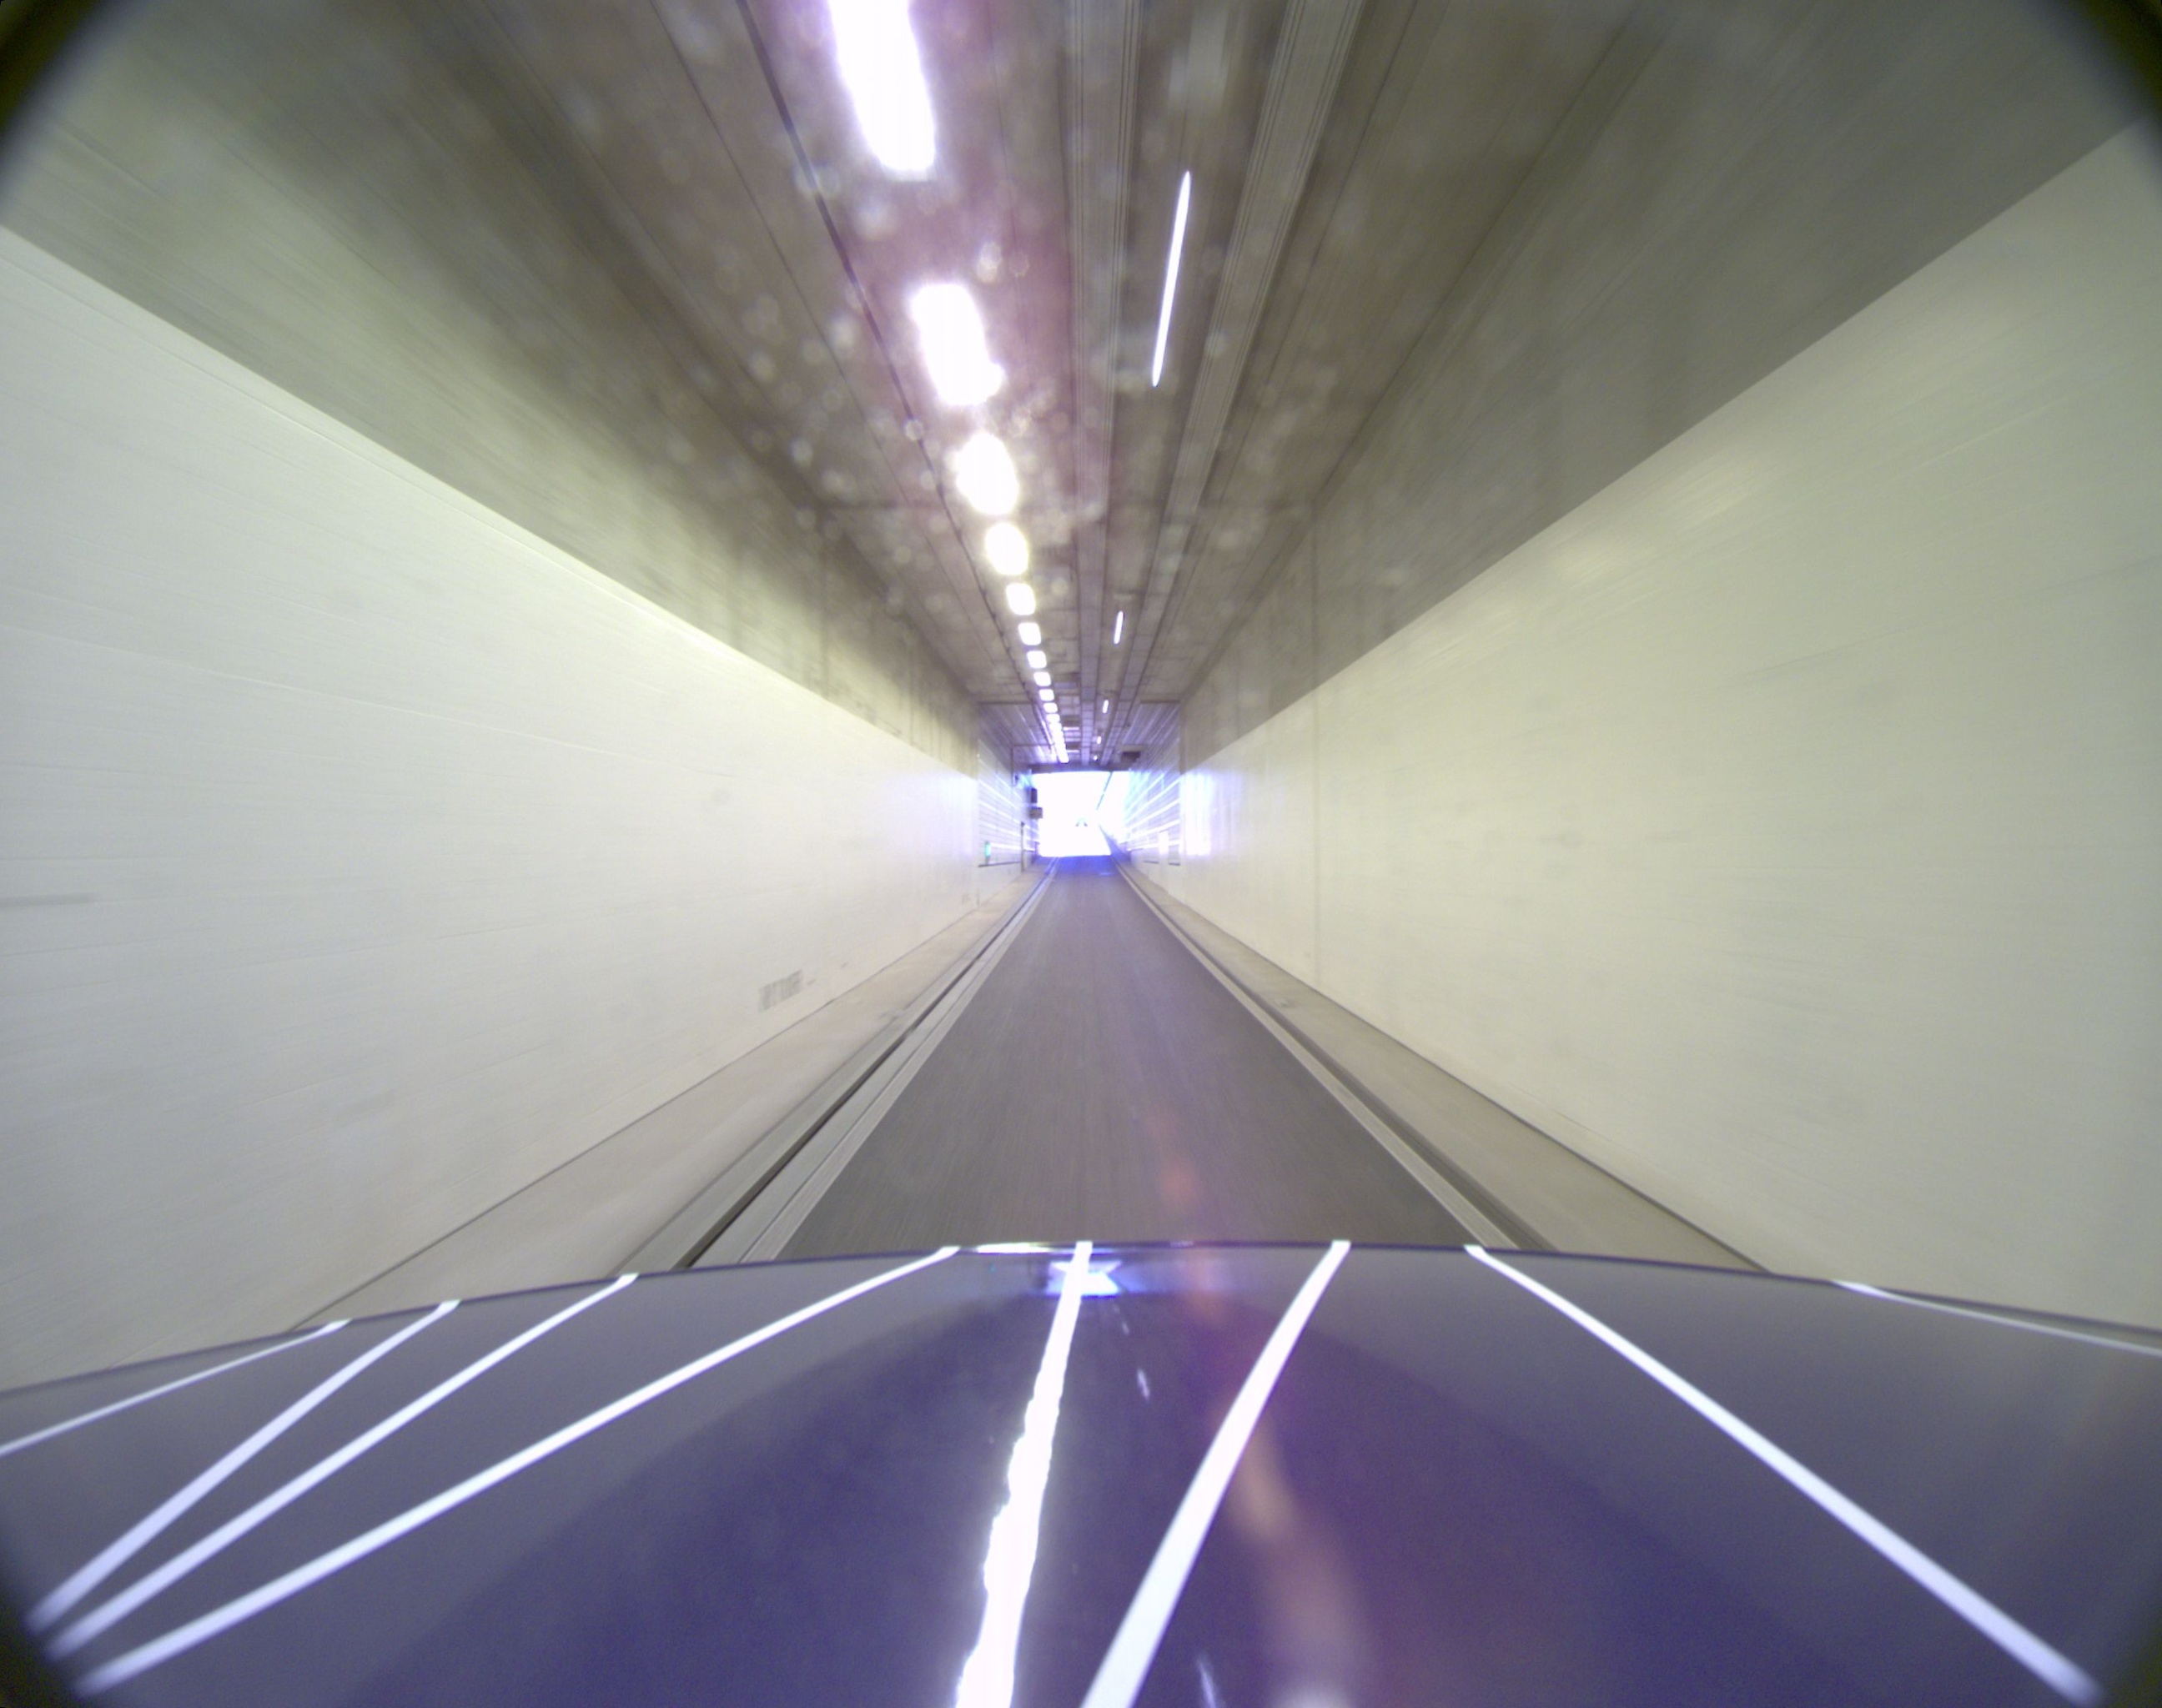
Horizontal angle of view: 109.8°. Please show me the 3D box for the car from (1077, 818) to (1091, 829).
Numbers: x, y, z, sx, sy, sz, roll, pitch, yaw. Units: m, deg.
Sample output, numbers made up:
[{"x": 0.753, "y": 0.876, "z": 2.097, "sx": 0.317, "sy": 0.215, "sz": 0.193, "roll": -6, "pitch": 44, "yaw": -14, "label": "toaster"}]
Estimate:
[{"x": 0.443, "y": -3.981, "z": 99.992, "sx": 1.829, "sy": 1.328, "sz": 4.000, "roll": -1, "pitch": 0, "yaw": 1, "label": "car"}]
